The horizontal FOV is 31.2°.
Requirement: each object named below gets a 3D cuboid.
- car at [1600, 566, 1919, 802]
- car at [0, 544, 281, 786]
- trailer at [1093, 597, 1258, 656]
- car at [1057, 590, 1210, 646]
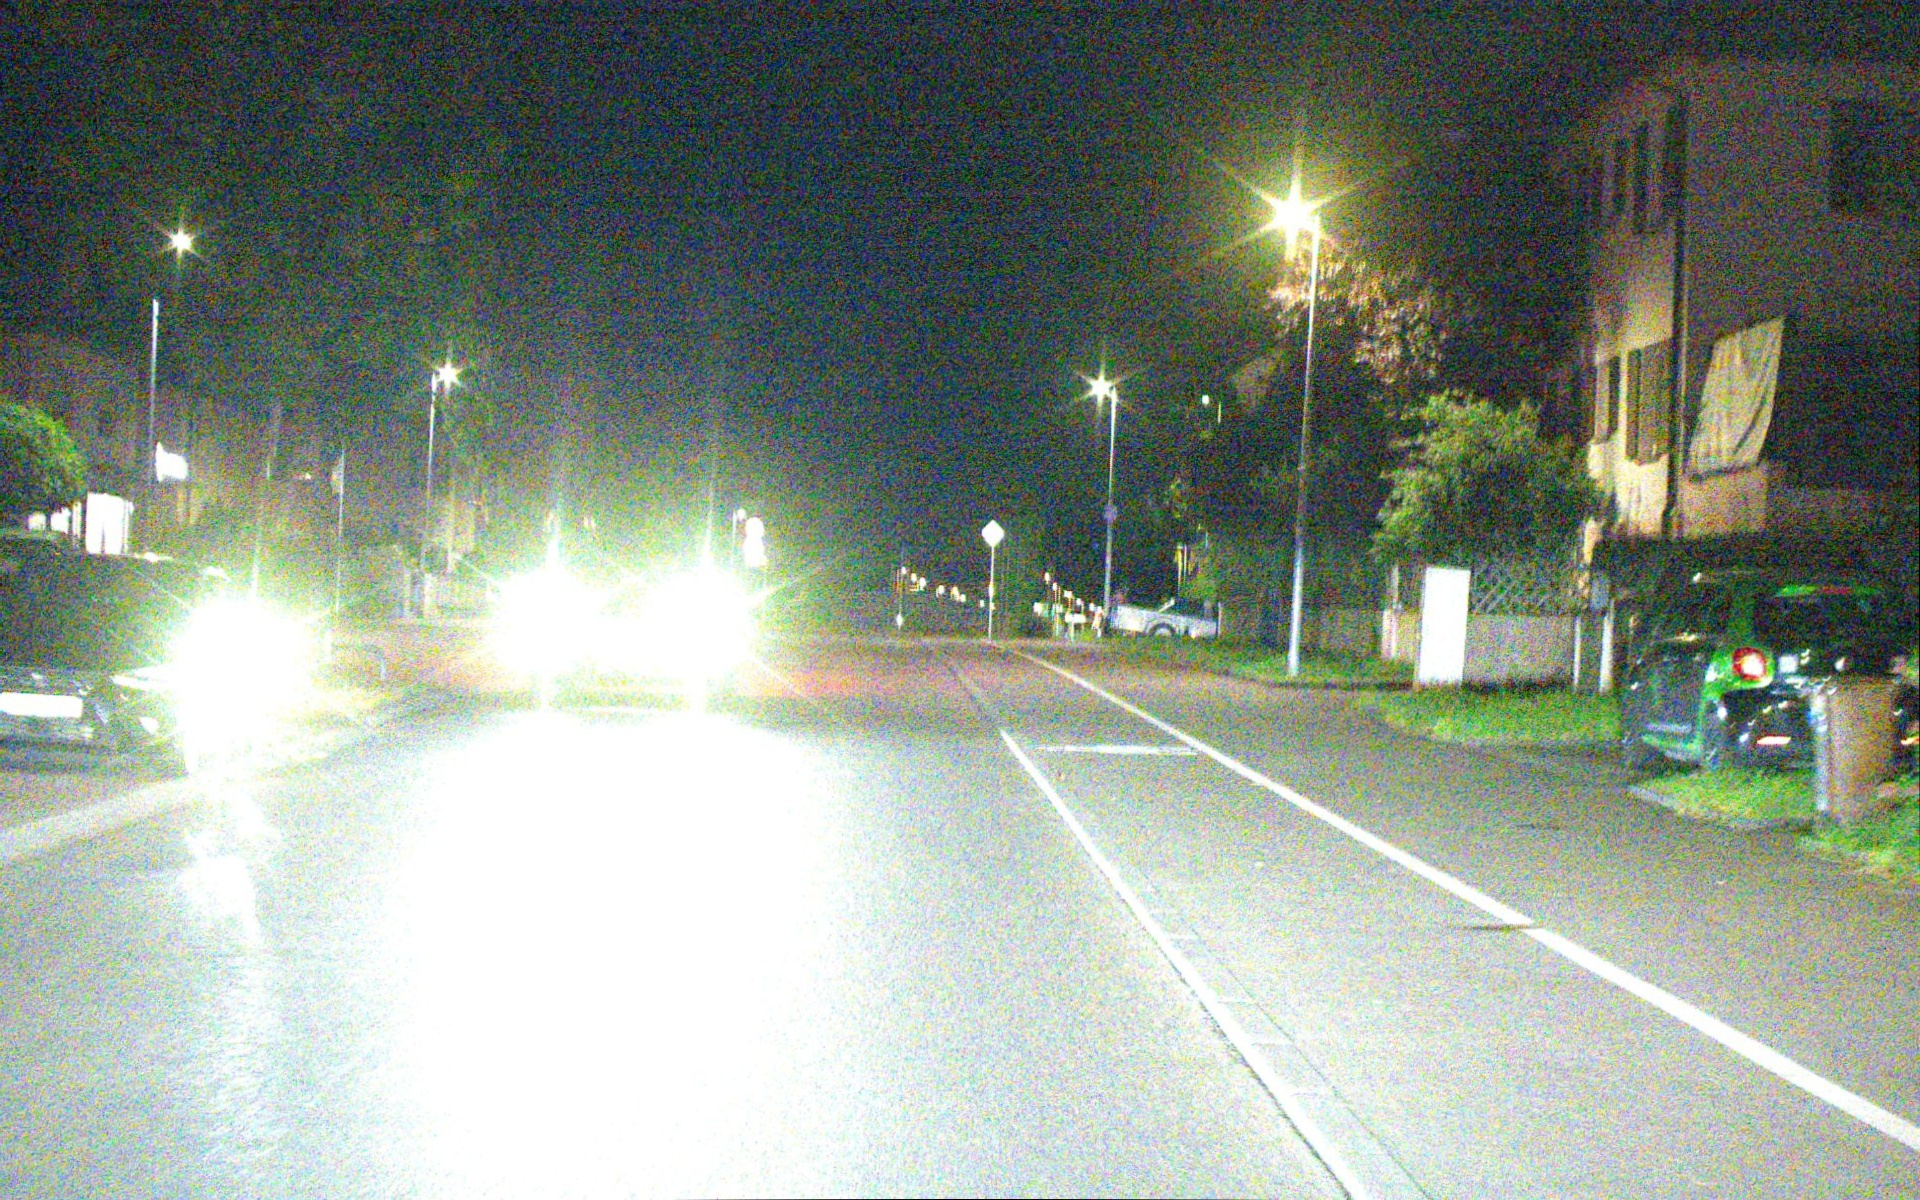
[{"bbox_3d":[5.879,0.549,24.890,1.639,1.554,3.679,1,1,-2],"label":"car"},{"bbox_3d":[-5.917,0.384,23.753,1.749,1.463,4.009,3,1,-2],"label":"car"},{"bbox_3d":[4.761,0.578,76.367,3.432,0.999,1.954,5,0,-1],"label":"trailer"},{"bbox_3d":[4.035,0.410,80.208,3.391,1.228,1.725,1,0,-3],"label":"car"}]
